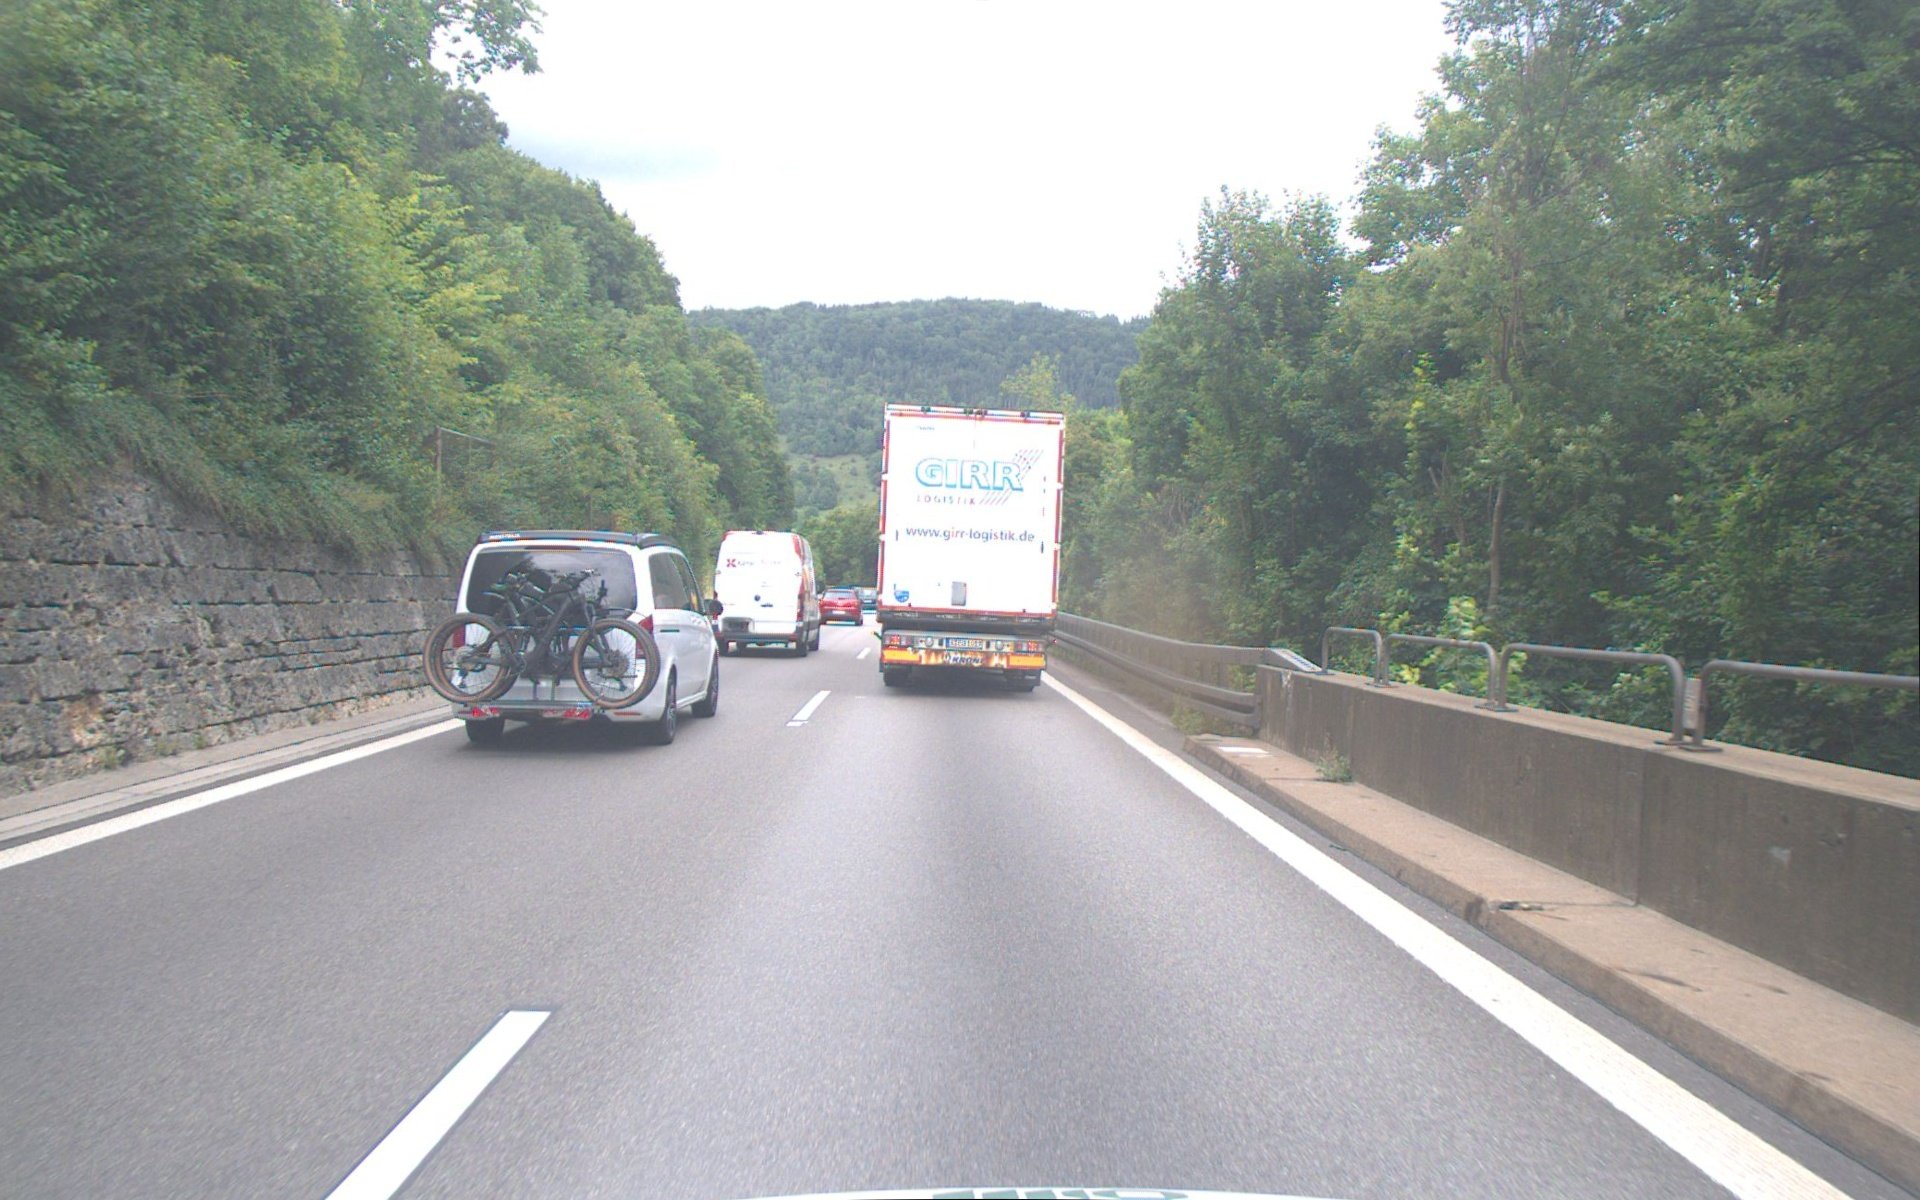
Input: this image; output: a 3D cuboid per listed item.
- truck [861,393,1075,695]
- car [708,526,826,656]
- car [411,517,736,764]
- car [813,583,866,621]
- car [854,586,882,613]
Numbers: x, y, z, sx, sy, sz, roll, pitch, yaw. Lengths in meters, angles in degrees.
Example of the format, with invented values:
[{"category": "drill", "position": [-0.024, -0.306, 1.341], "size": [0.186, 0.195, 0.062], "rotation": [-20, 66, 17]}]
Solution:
[{"category": "truck", "position": [0.057, -0.771, 26.842], "size": [2.849, 4.030, 9.277], "rotation": [0, 0, -1]}, {"category": "car", "position": [-4.193, -0.188, 36.954], "size": [1.985, 2.630, 6.273], "rotation": [0, 0, -1]}, {"category": "car", "position": [-3.574, 0.305, 16.596], "size": [1.953, 1.987, 6.146], "rotation": [1, 0, -2]}, {"category": "car", "position": [-4.854, 0.064, 67.161], "size": [1.730, 1.485, 4.411], "rotation": [0, 0, 1]}, {"category": "car", "position": [-5.818, -0.005, 105.269], "size": [1.635, 1.667, 4.067], "rotation": [0, 0, -2]}]
